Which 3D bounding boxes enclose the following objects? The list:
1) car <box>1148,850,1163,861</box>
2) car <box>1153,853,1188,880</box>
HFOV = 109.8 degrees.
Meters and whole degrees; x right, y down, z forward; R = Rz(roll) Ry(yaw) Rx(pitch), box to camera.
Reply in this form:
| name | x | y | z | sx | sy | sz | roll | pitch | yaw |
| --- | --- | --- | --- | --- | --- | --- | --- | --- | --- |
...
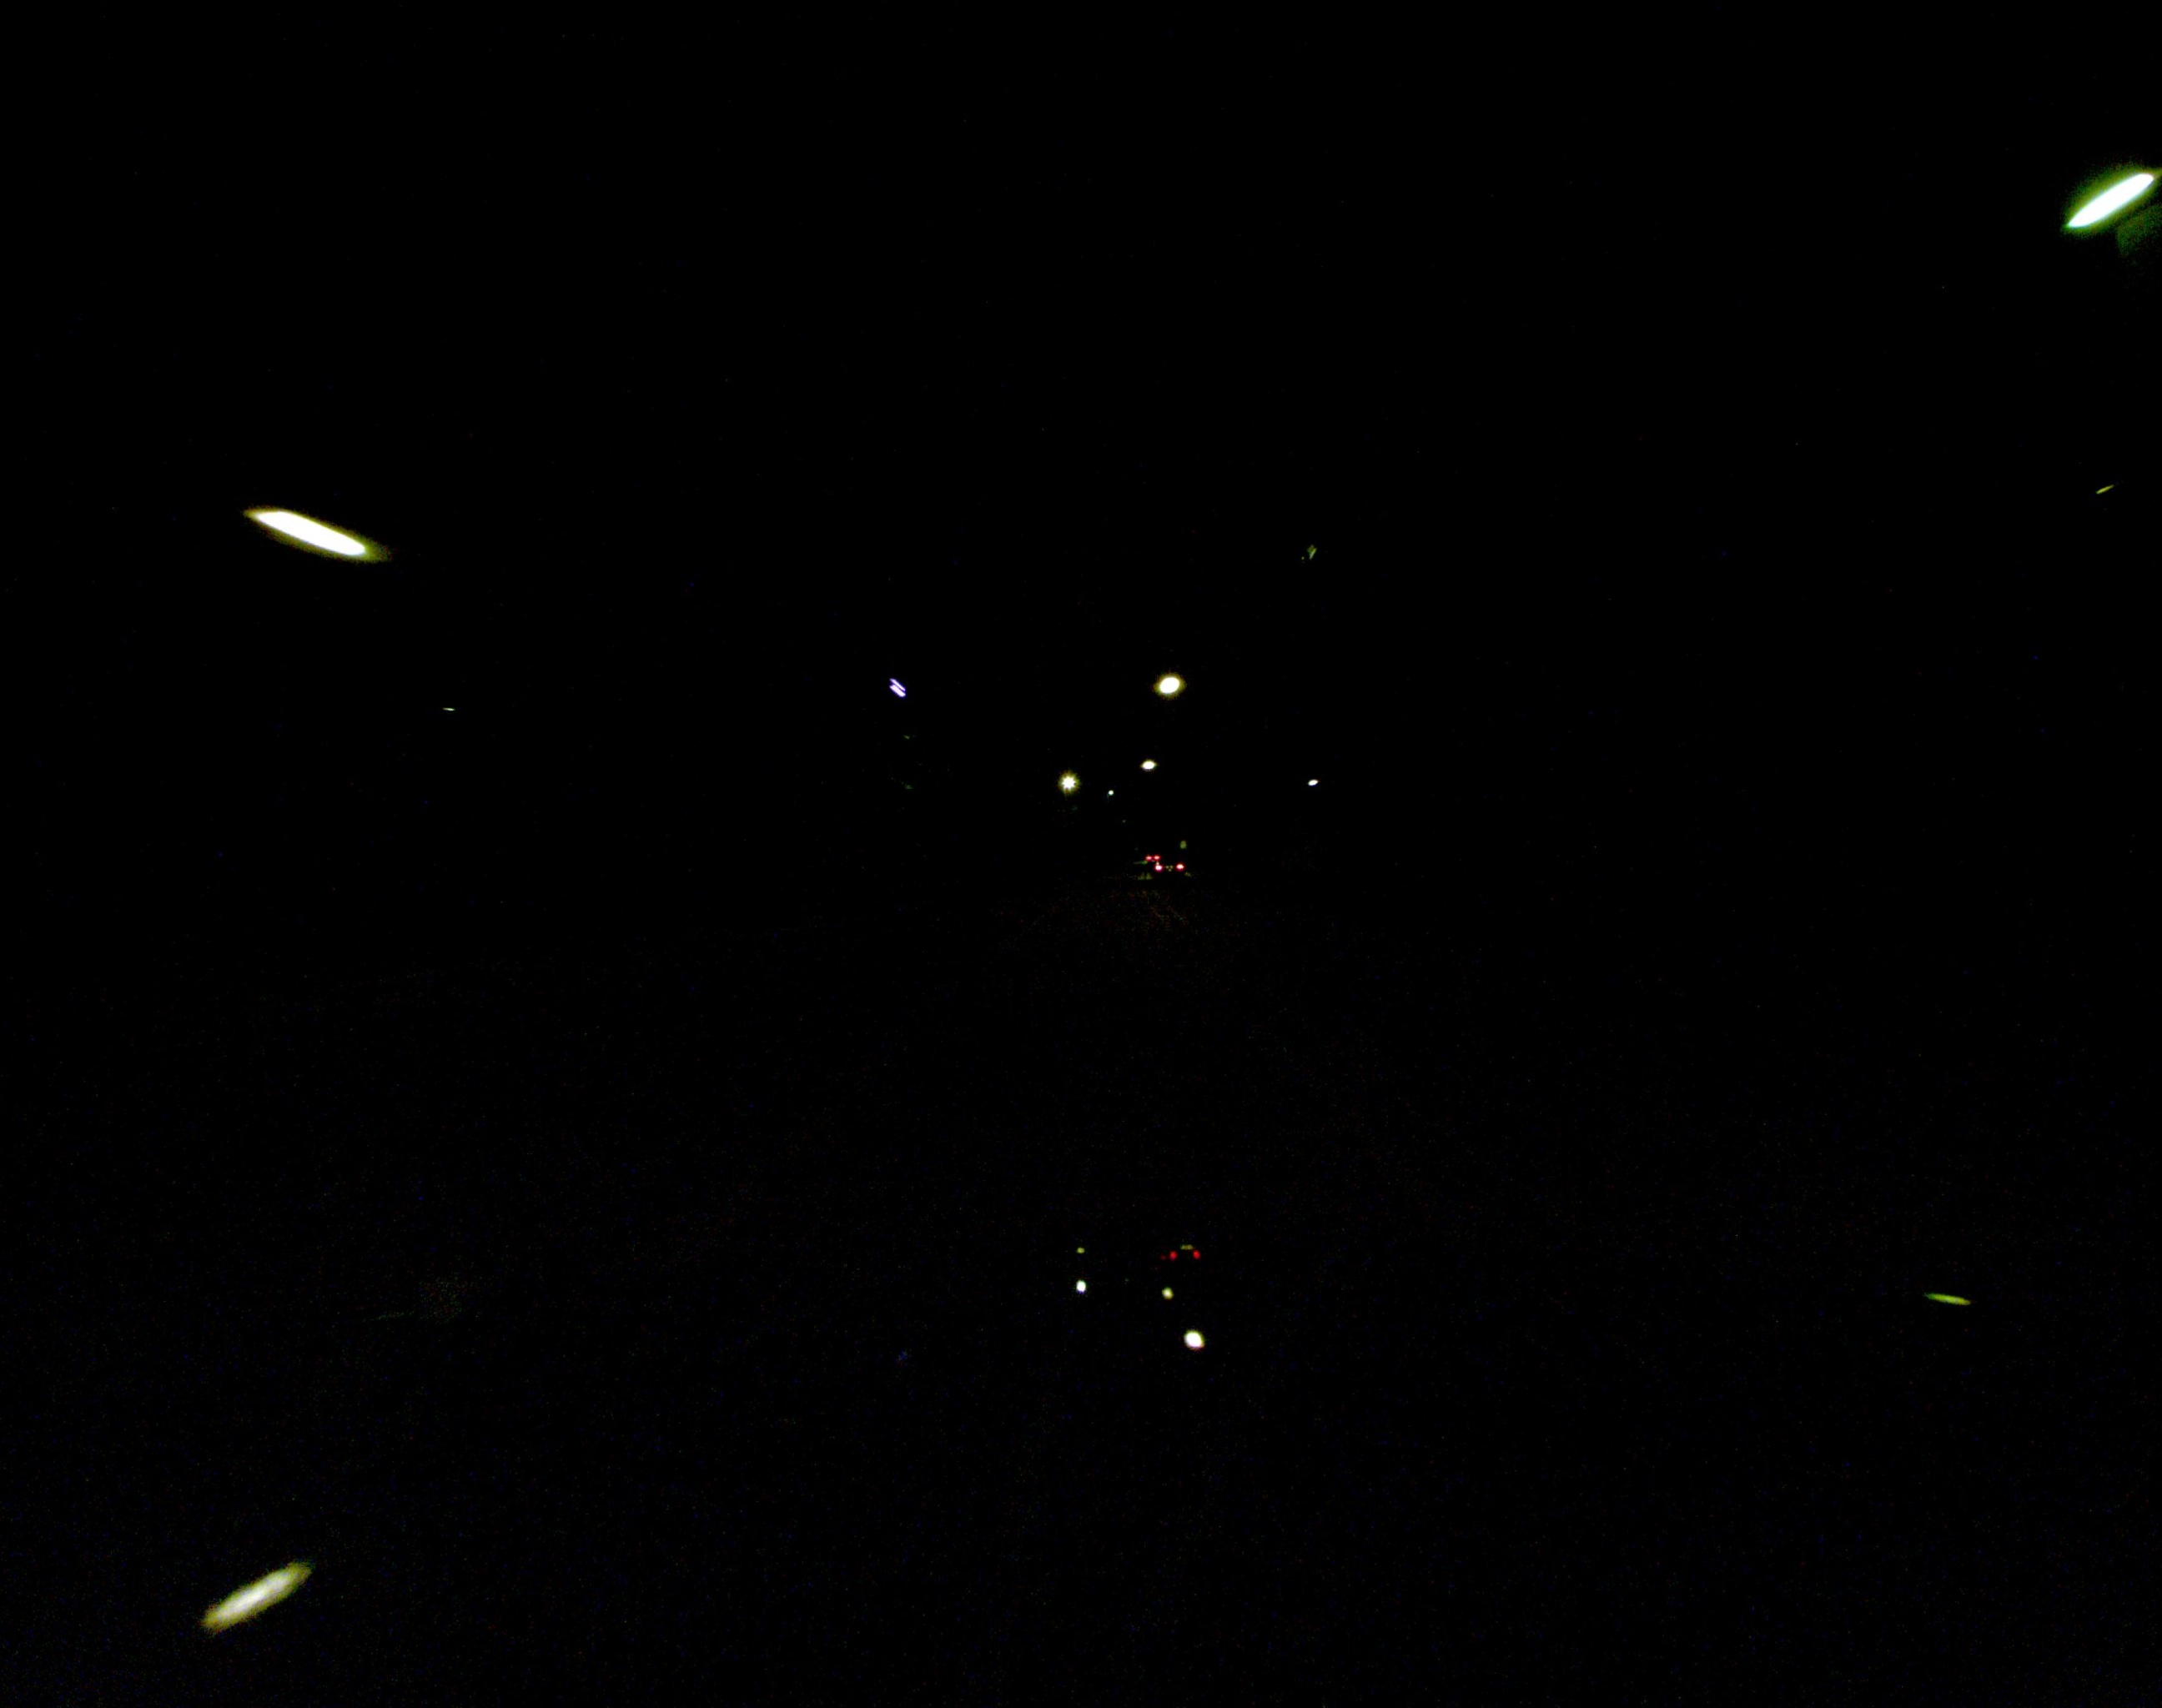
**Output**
| name | x | y | z | sx | sy | sz | roll | pitch | yaw |
| --- | --- | --- | --- | --- | --- | --- | --- | --- | --- |
| car | 11.258 | 0.214 | 115.237 | 1.885 | 1.545 | 4.220 | -2 | 1 | 10 |
| car | 5.568 | 0.745 | 47.789 | 1.792 | 1.439 | 4.172 | -3 | 1 | 2 |
